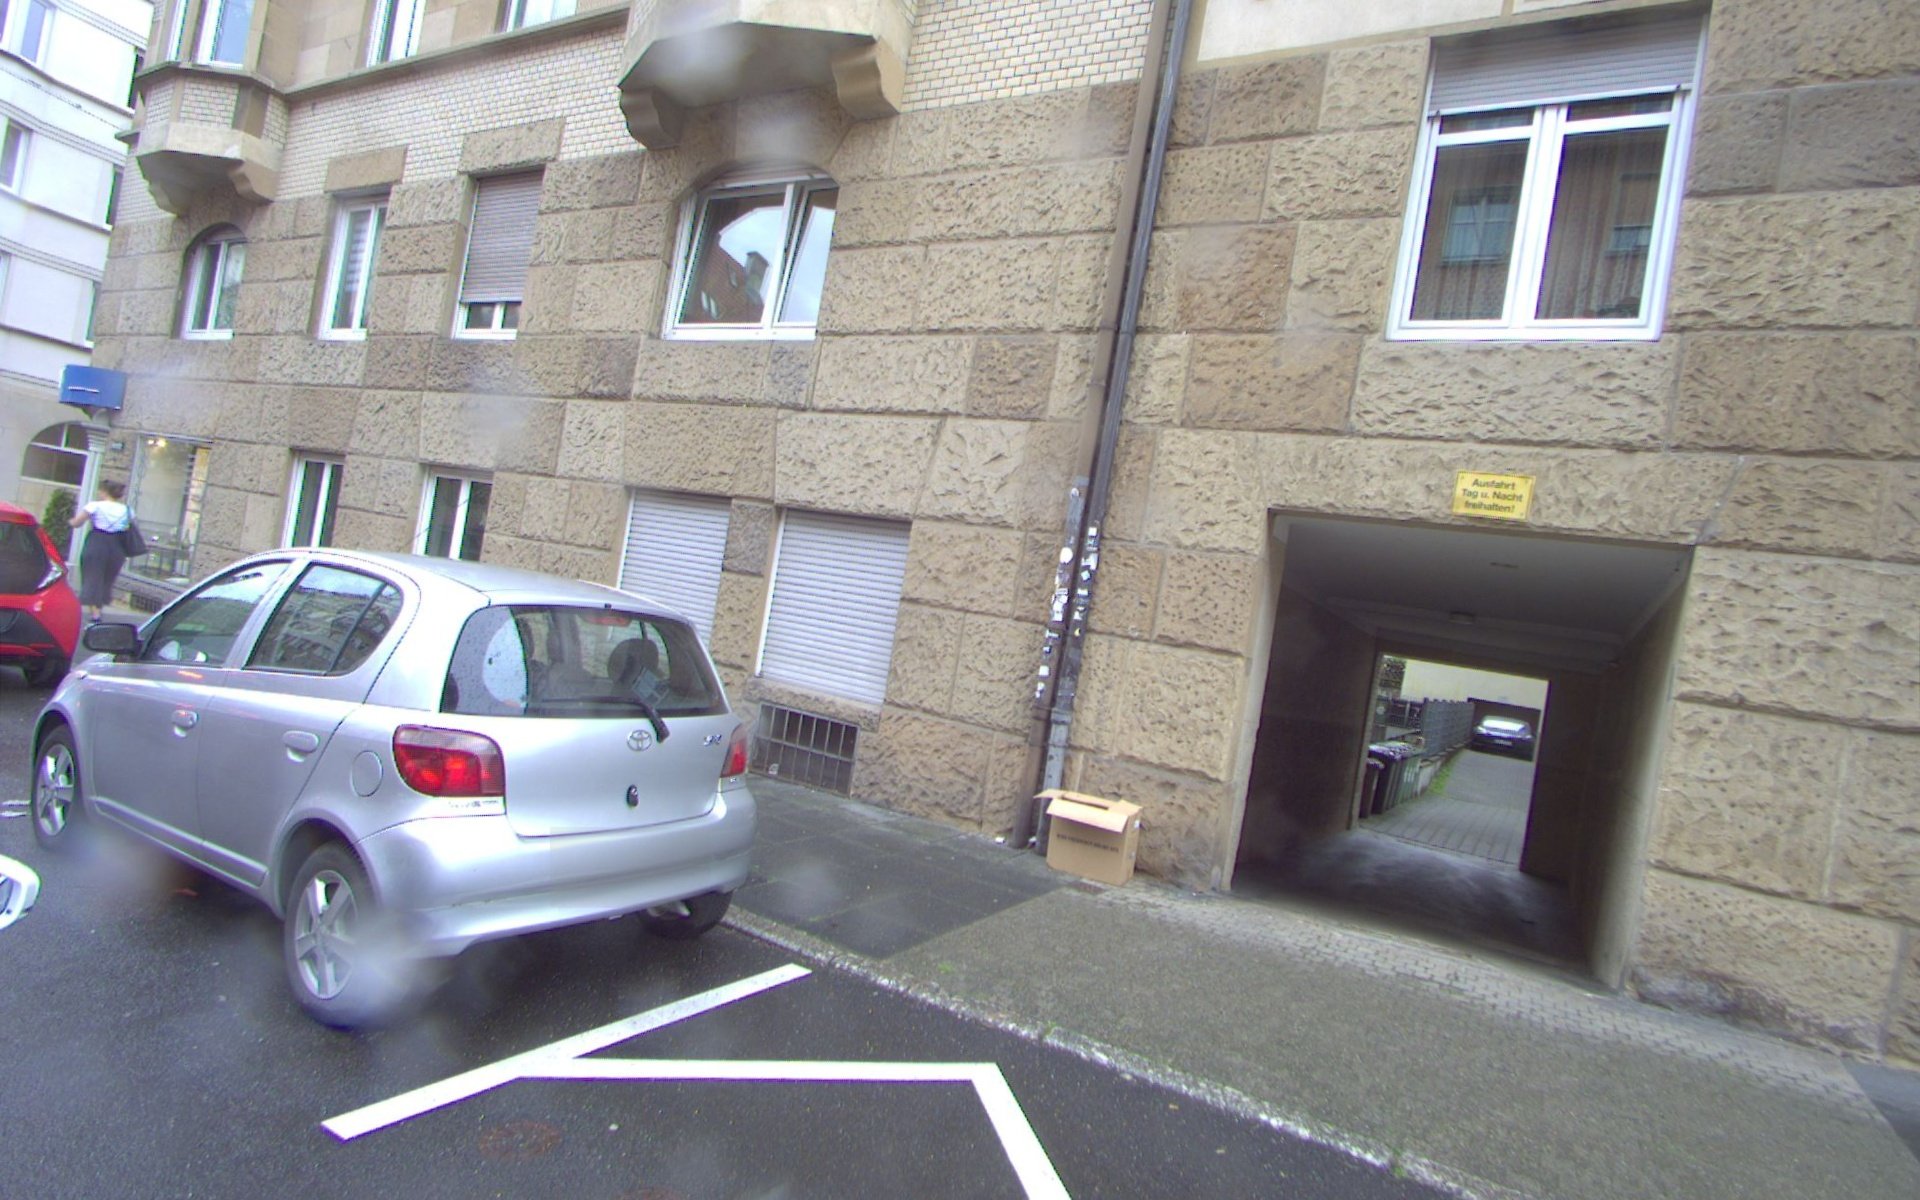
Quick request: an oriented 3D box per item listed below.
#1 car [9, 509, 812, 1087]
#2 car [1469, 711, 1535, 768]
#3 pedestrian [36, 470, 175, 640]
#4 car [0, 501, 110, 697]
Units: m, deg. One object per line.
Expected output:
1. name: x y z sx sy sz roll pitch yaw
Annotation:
1. car: -2.489 0.546 4.405 3.258 1.485 1.616 7 0 33
2. car: 18.336 4.678 33.948 1.693 1.538 4.102 7 -3 31
3. pedestrian: -9.703 -0.510 11.429 1.093 1.768 0.743 6 -1 32
4. car: -8.738 -0.201 8.182 3.243 1.464 1.646 7 -2 29
